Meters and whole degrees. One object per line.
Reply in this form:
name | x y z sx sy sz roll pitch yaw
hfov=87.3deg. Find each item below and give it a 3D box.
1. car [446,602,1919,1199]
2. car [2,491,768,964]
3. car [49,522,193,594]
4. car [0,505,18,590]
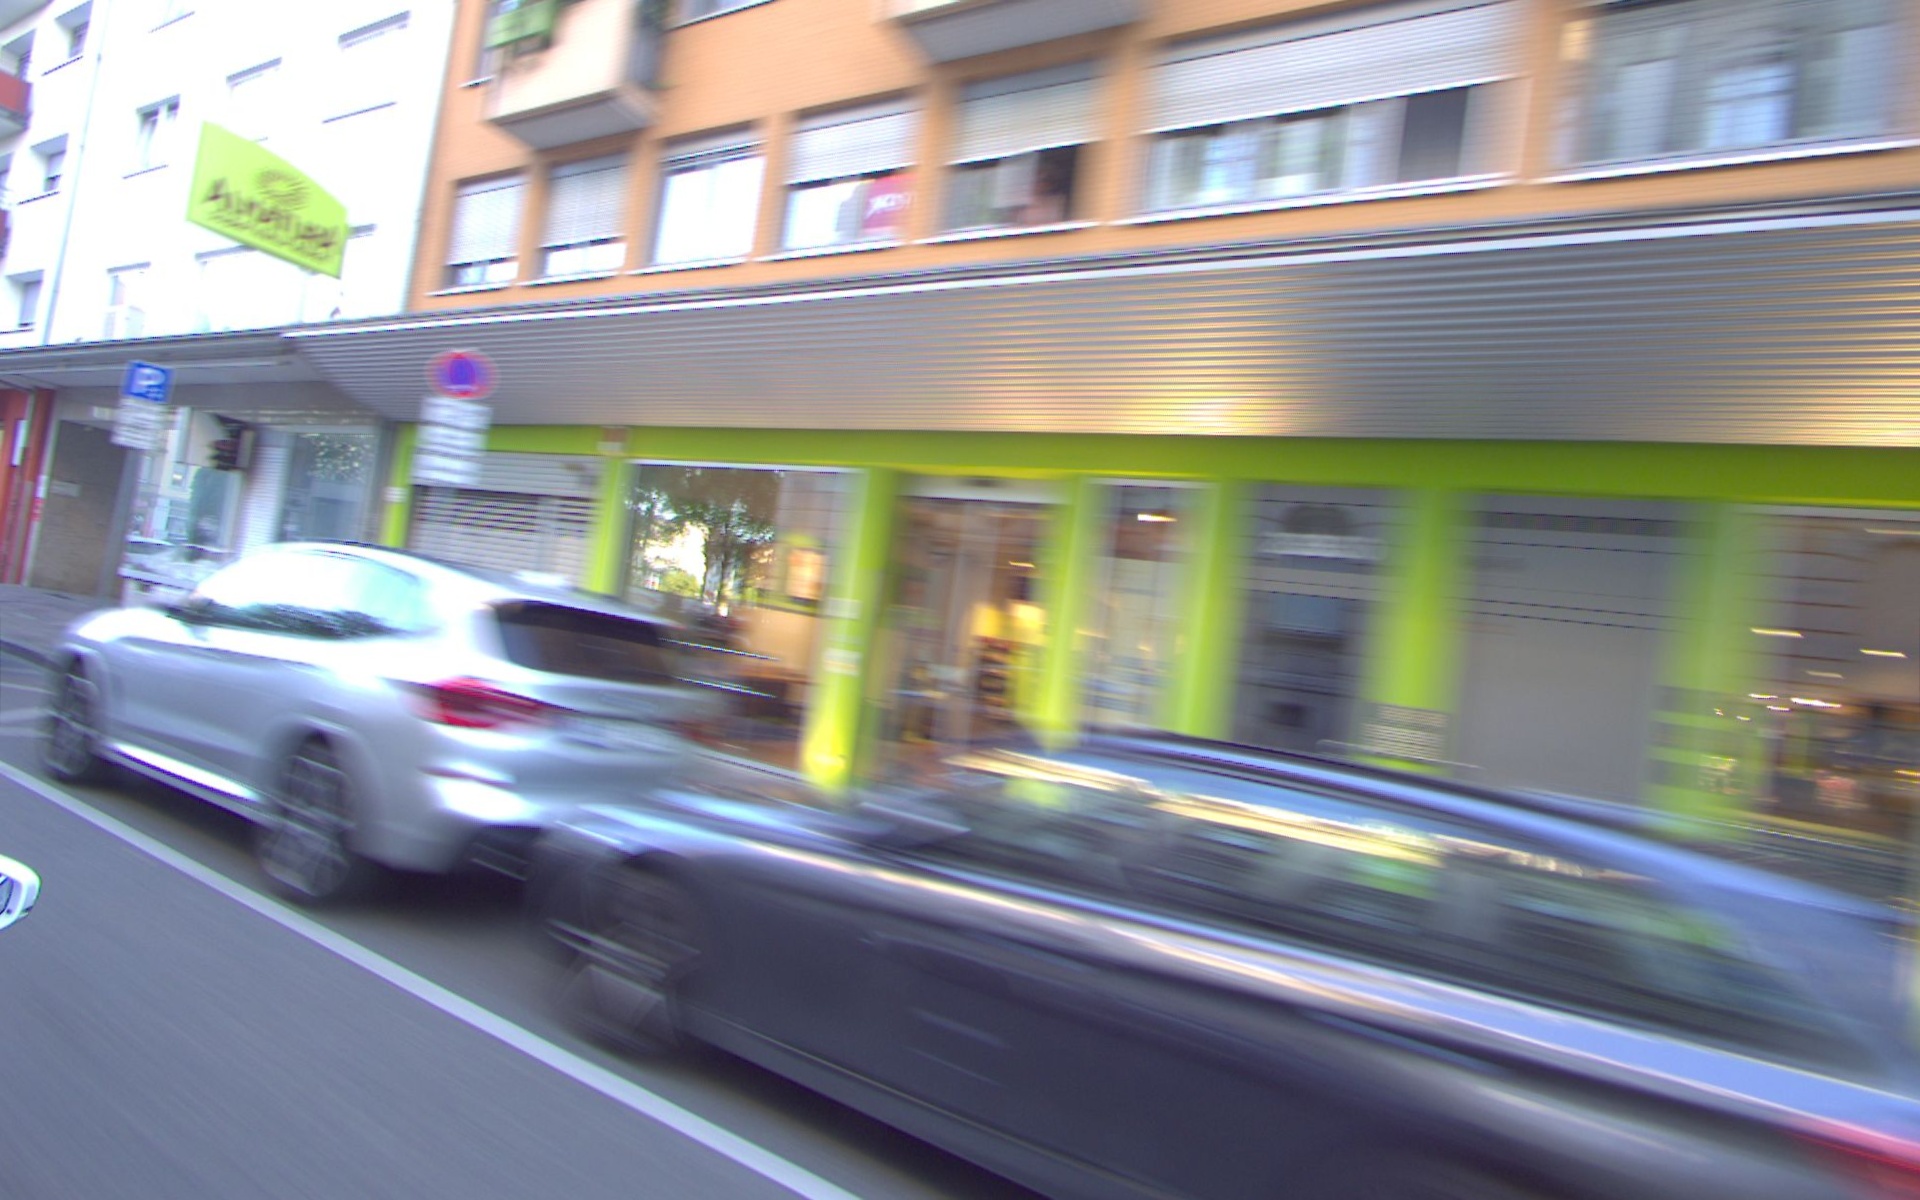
car | 0.503 1.093 3.449 4.677 1.429 1.698 7 -5 32
car | -3.611 0.510 6.021 4.677 1.685 1.758 7 -5 32
car | -22.146 -1.126 26.516 3.935 1.352 1.743 7 -2 33
car | -11.582 -0.448 10.313 4.416 1.626 1.799 7 -5 36
